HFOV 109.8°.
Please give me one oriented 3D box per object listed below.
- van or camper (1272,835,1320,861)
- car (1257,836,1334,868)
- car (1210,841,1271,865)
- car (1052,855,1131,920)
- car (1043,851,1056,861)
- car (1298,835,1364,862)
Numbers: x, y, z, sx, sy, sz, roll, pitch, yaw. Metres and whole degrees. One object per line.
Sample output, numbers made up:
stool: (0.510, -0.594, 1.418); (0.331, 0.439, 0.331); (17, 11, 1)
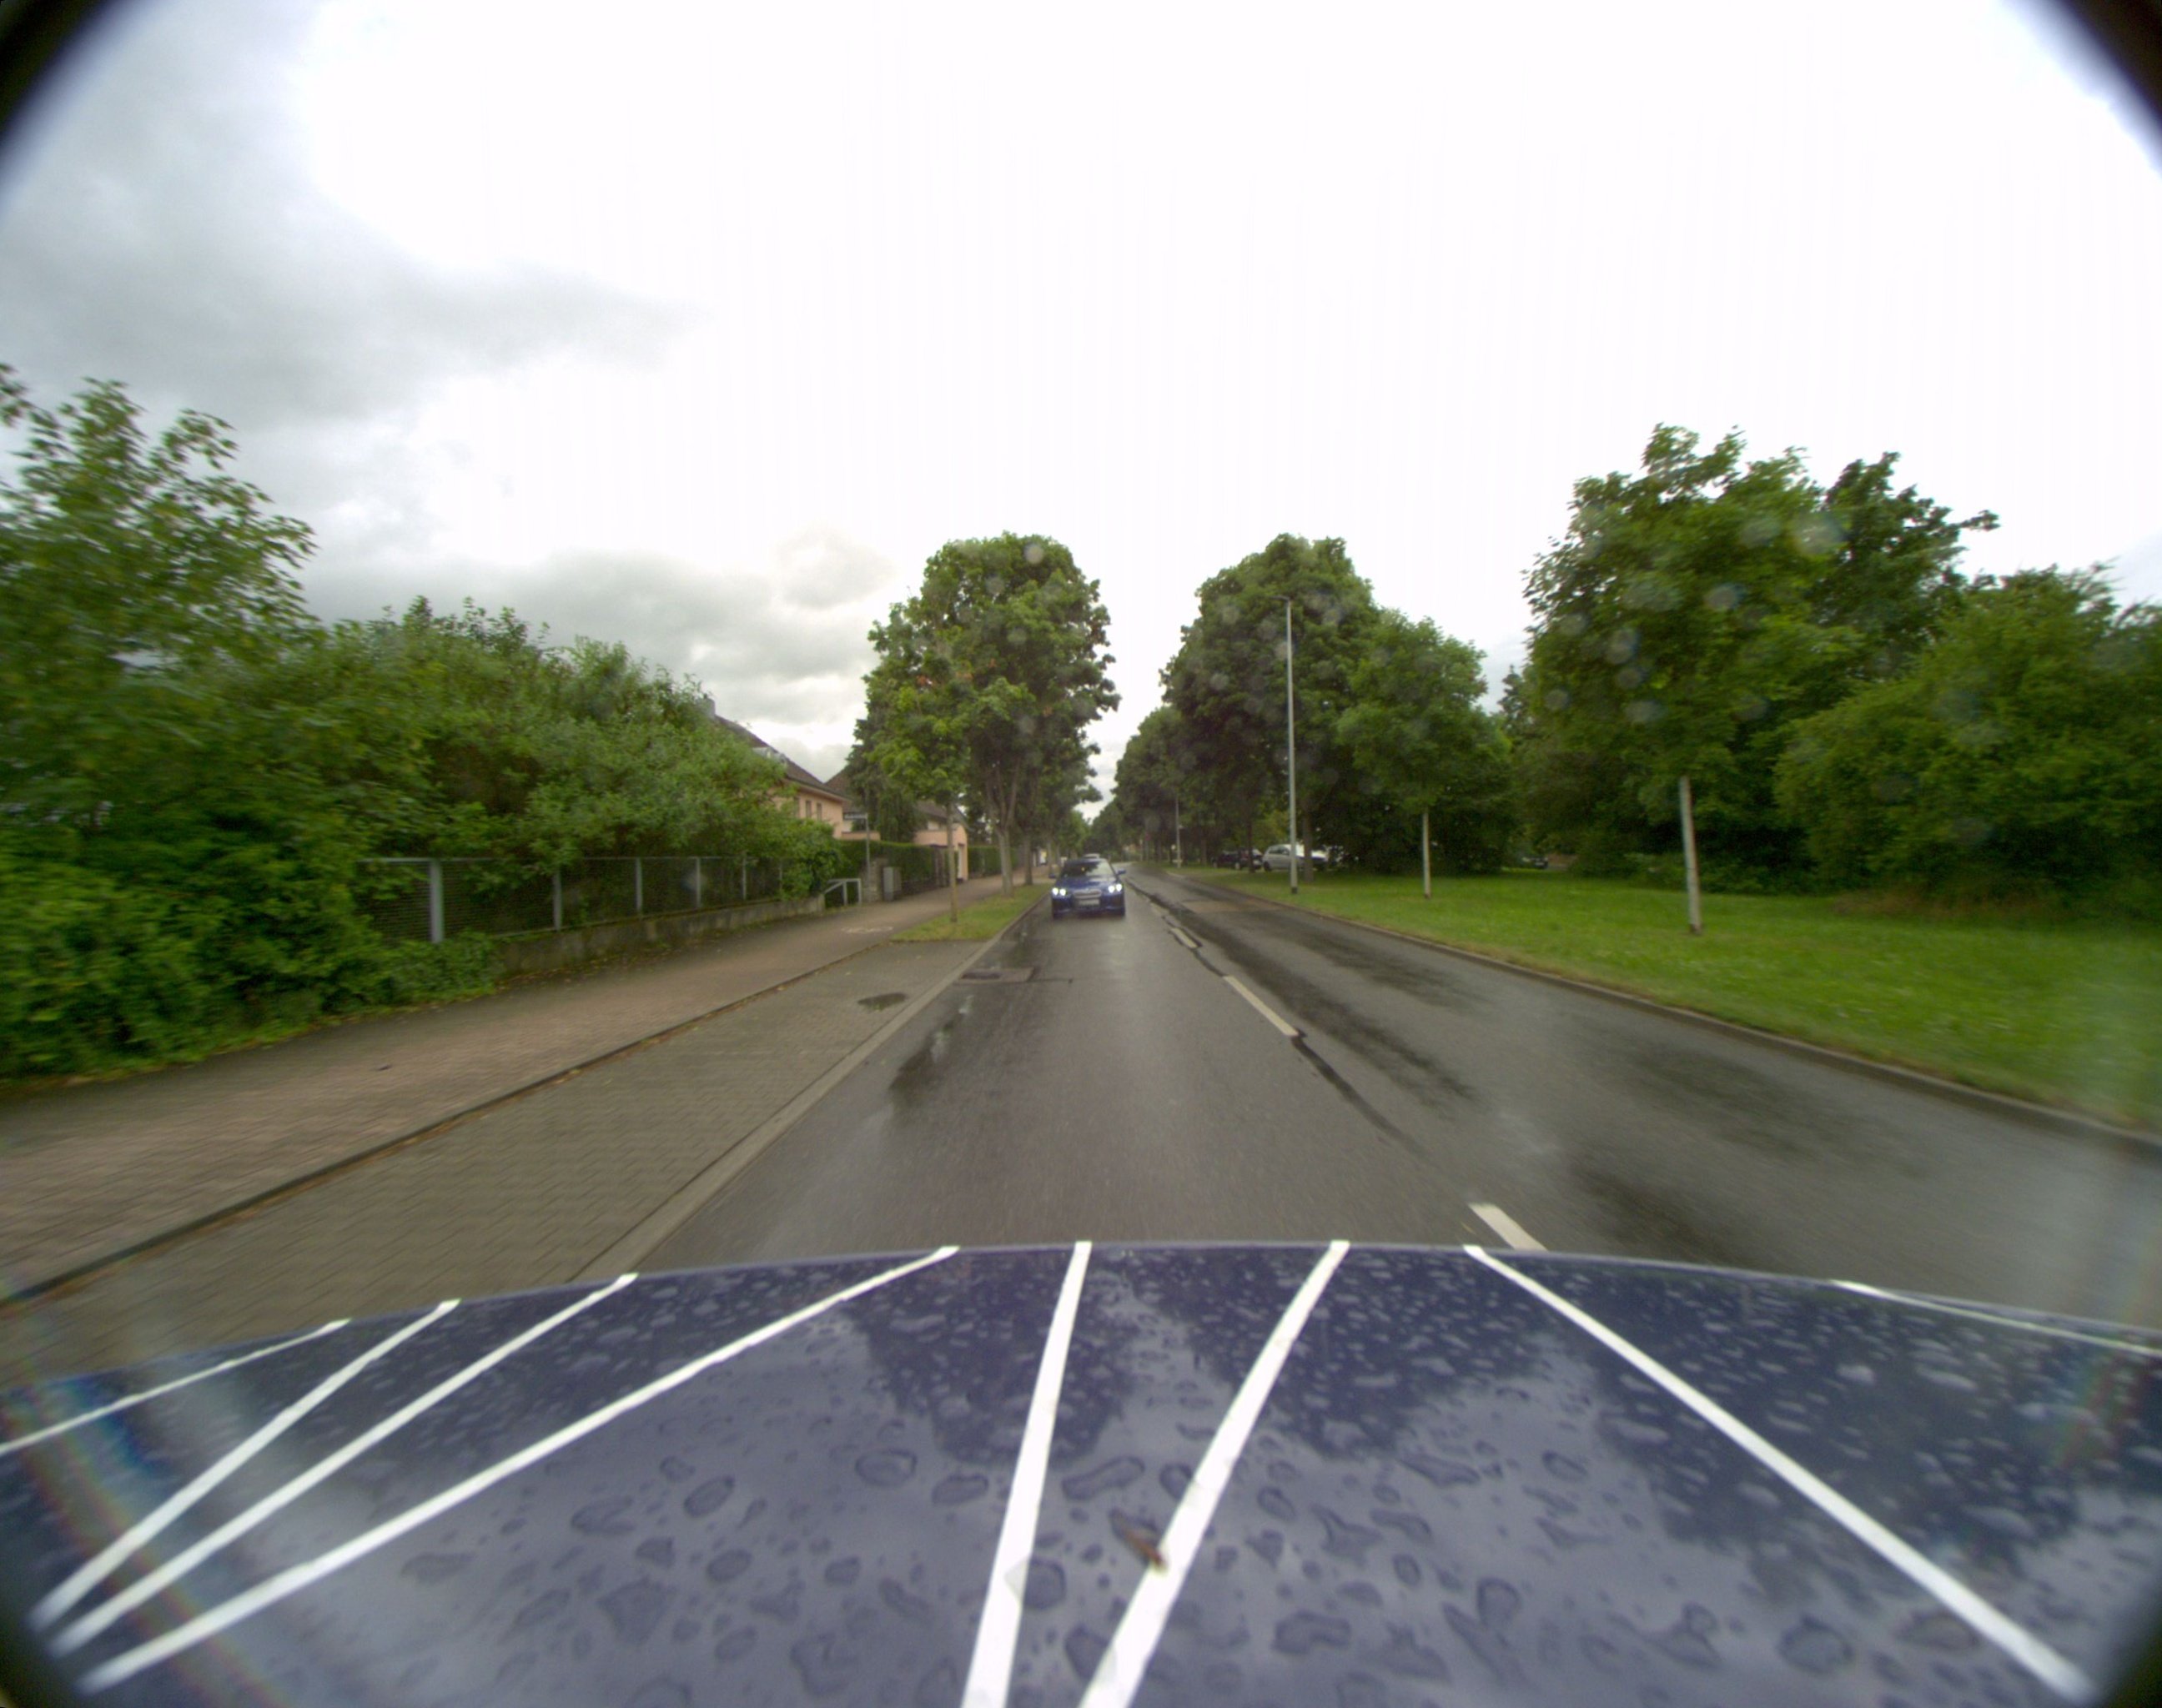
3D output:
van or camper: (20.514, -0.526, 72.673); (2.096, 2.322, 6.150); (-2, 0, -8)
car: (11.164, -0.051, 39.921); (1.888, 1.421, 4.212); (-2, -2, -17)
car: (10.628, -0.059, 51.008); (1.897, 1.505, 4.241); (-1, 1, -24)
car: (0.311, 0.806, 20.223); (1.815, 1.459, 3.975); (-3, 0, 2)
car: (-4.915, 0.304, 118.786); (1.666, 1.414, 4.000); (-4, 0, 2)
car: (17.585, -0.414, 53.706); (1.911, 1.760, 4.889); (-2, 2, -19)
